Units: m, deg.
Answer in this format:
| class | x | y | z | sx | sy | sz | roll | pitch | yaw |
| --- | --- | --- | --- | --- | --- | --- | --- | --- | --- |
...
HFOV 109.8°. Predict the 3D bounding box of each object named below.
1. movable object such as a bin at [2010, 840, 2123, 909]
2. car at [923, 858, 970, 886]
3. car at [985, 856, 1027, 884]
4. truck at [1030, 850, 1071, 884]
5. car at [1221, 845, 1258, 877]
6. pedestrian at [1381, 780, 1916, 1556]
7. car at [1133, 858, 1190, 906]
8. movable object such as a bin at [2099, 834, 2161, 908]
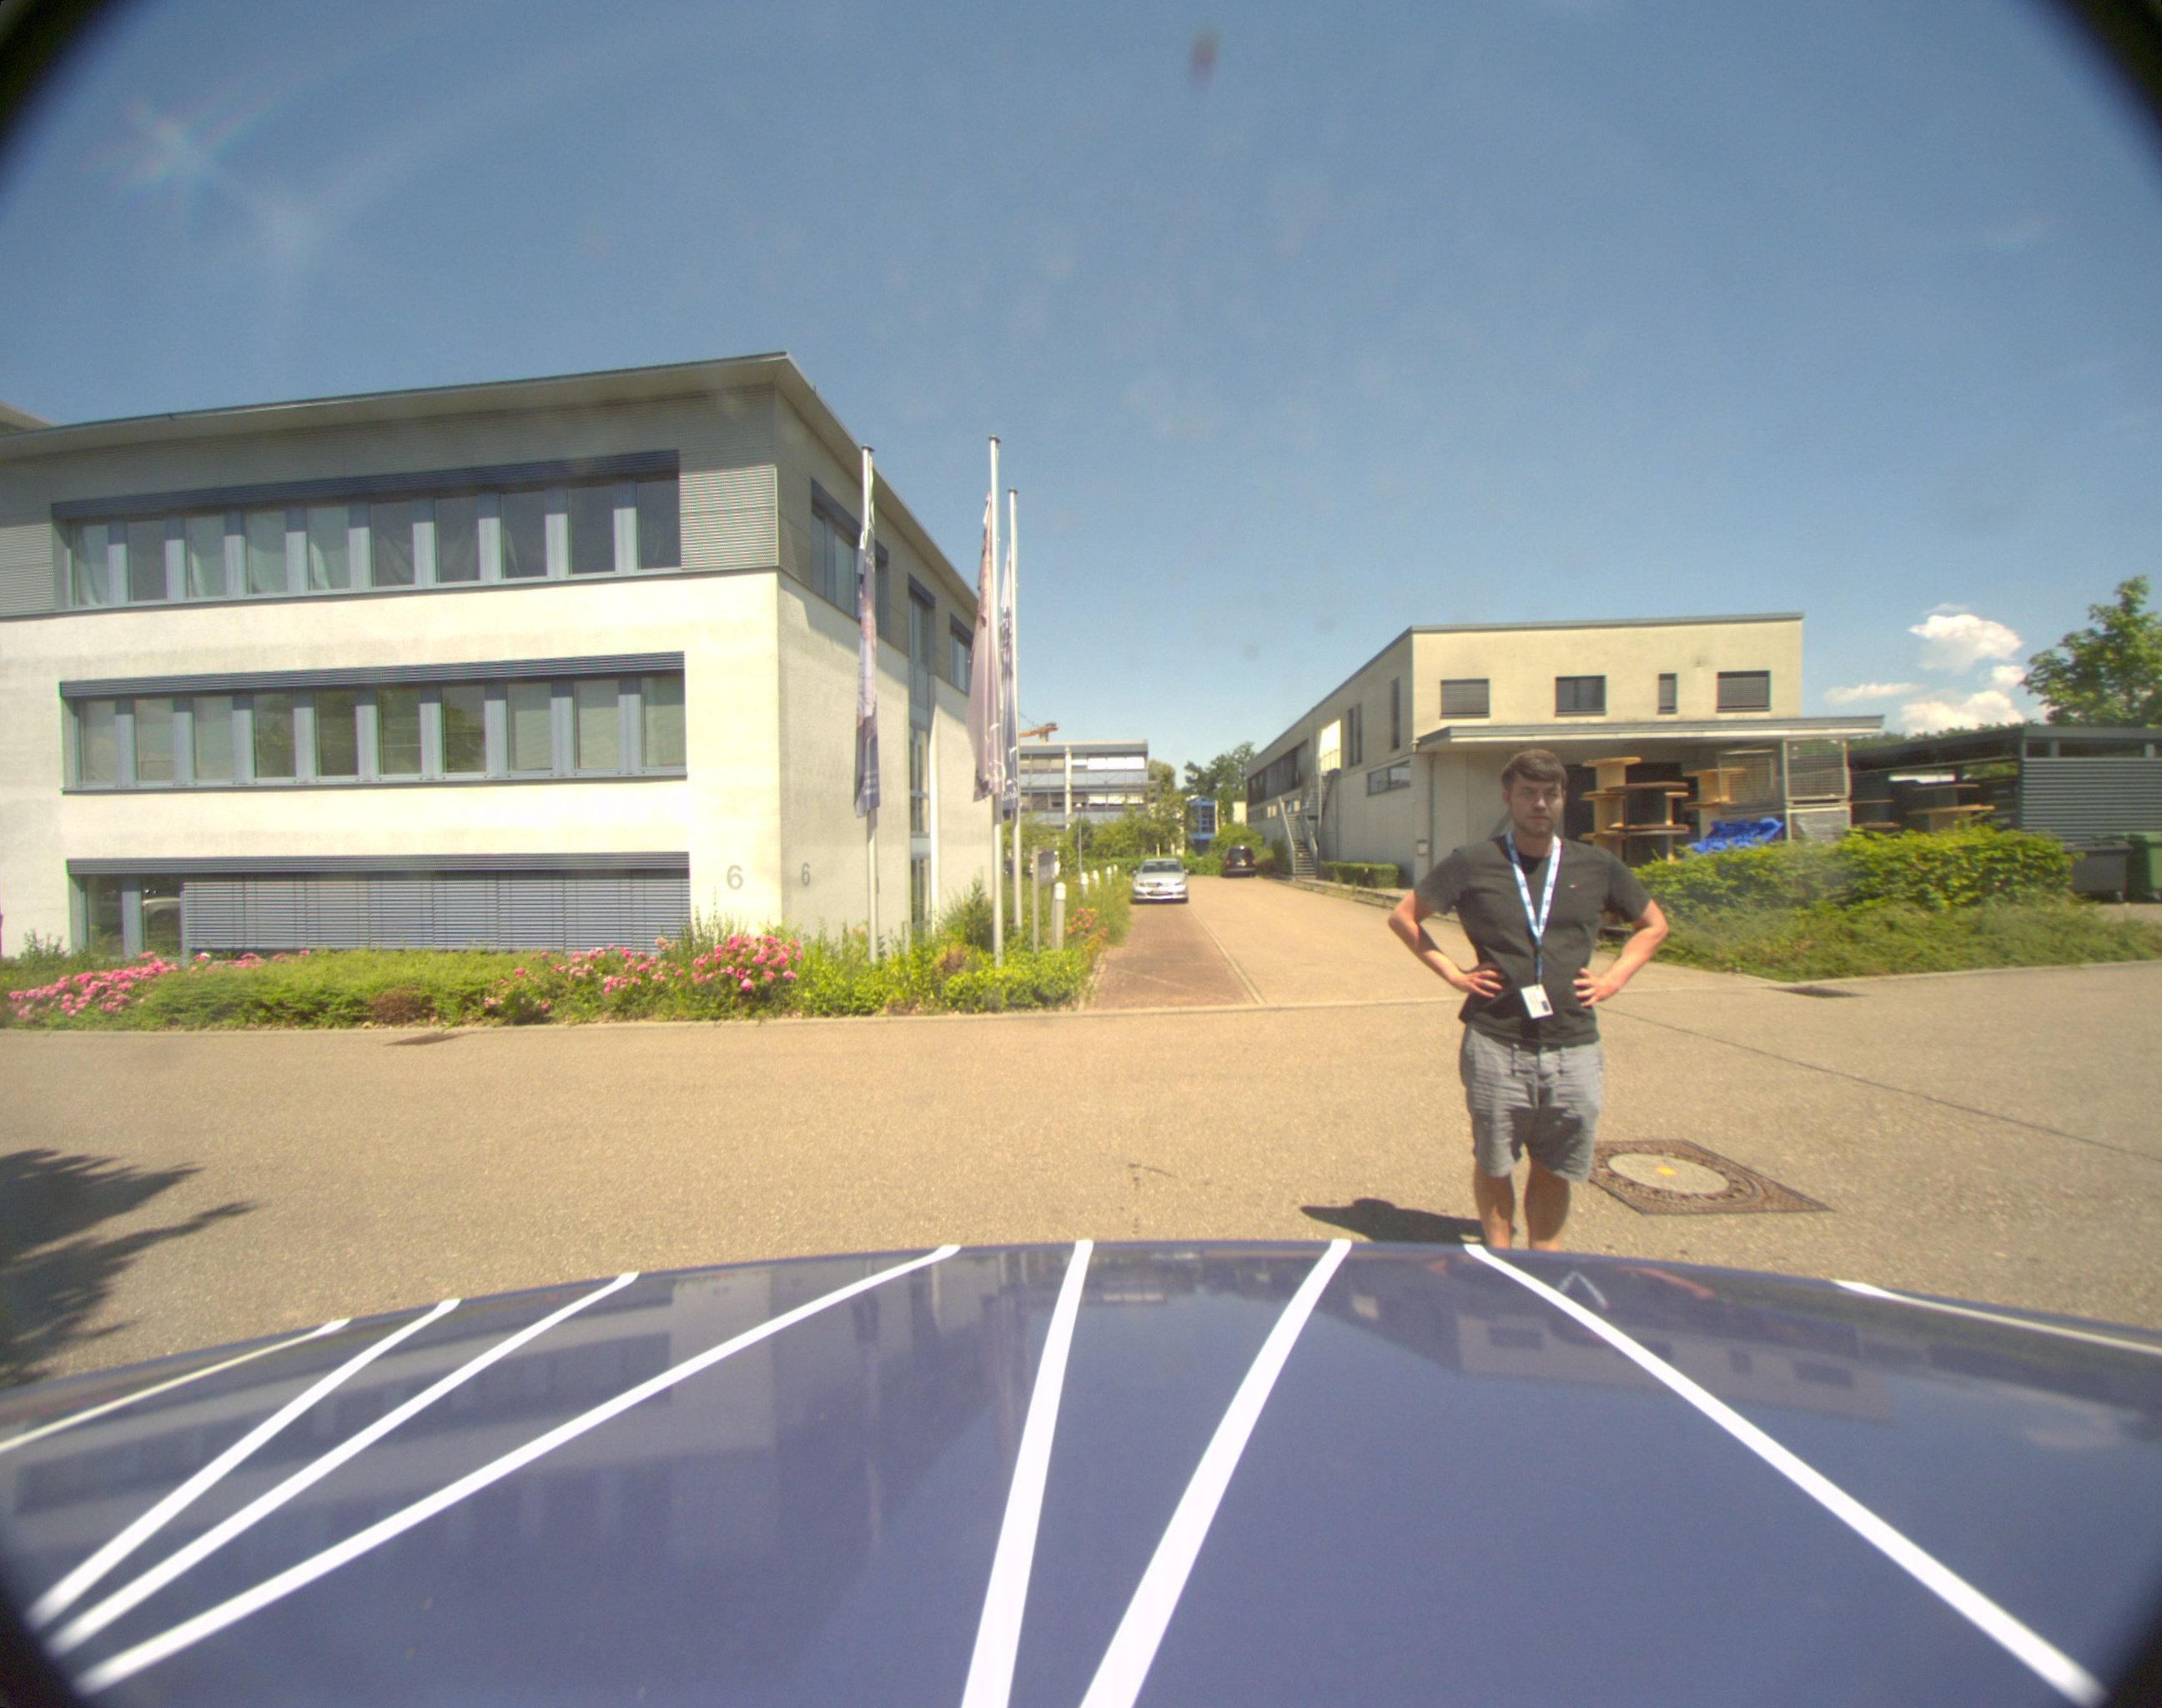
| class | x | y | z | sx | sy | sz | roll | pitch | yaw |
| --- | --- | --- | --- | --- | --- | --- | --- | --- | --- |
| movable object such as a bin | 18.834 | 0.381 | 14.547 | 1.071 | 1.264 | 0.760 | -2 | 1 | 10 |
| car | -8.196 | 1.068 | 46.789 | 1.787 | 1.537 | 4.001 | -2 | 1 | 5 |
| car | -4.535 | 0.935 | 46.411 | 1.787 | 1.537 | 4.001 | -2 | 1 | 5 |
| truck | -1.774 | 0.721 | 45.422 | 1.998 | 1.882 | 4.001 | -2 | 0 | 4 |
| car | 9.404 | 0.375 | 45.409 | 1.786 | 1.793 | 4.001 | -2 | 1 | 7 |
| pedestrian | 1.518 | 0.746 | 2.241 | 0.860 | 1.809 | 0.904 | -2 | 1 | 1 |
| car | 2.751 | 0.873 | 25.371 | 1.710 | 1.383 | 3.813 | -1 | 1 | 9 |
| movable object such as a bin | 20.141 | 0.306 | 14.218 | 1.071 | 1.329 | 0.760 | -2 | 1 | 10 |
